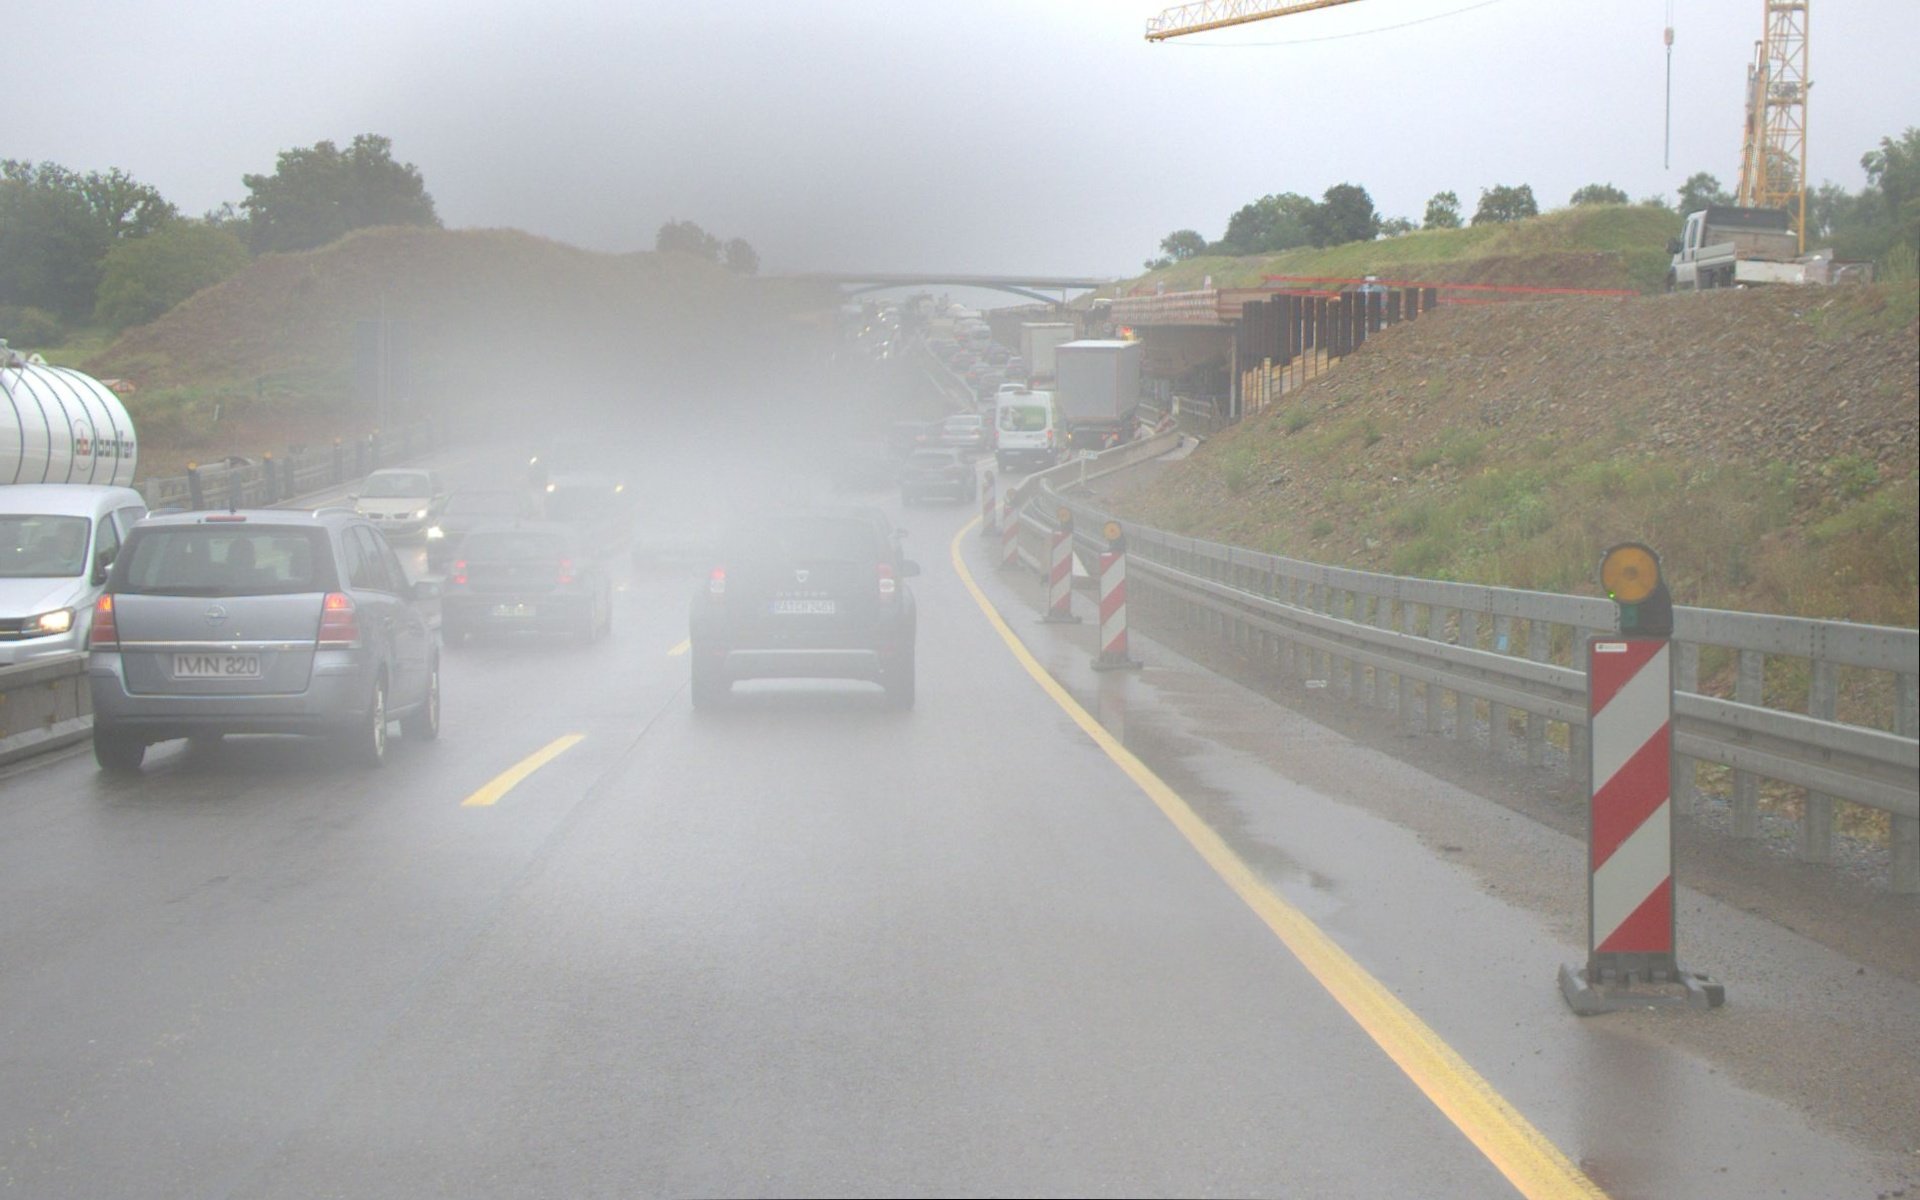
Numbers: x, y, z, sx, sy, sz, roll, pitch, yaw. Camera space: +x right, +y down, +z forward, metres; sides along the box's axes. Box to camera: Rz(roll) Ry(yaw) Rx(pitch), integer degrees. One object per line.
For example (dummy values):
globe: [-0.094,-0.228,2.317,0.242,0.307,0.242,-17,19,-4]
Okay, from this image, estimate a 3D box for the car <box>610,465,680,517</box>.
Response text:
car: [-9.369,-3.254,102.503,1.787,1.533,4.312,0,2,-1]

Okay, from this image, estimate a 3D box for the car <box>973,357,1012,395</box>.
car: [1.770,-12.227,187.996,1.993,2.006,4.001,-1,3,-1]

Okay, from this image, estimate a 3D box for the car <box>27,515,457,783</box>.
car: [-4.582,0.250,22.567,1.993,1.595,4.141,0,1,-1]

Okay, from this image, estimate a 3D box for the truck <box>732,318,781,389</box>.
truck: [-14.794,-17.893,250.026,3.083,4.902,8.565,1,3,0]

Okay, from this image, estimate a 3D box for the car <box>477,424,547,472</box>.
car: [-14.495,-4.912,111.431,1.787,1.533,4.312,0,2,-1]

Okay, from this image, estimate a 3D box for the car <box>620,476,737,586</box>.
car: [-5.257,-1.303,64.630,1.993,2.007,3.894,0,1,-2]

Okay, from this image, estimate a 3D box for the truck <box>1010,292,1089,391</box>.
truck: [5.078,-14.843,198.536,3.803,5.025,12.923,0,1,-2]

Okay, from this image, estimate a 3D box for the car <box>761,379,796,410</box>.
car: [-10.098,-11.468,191.699,1.737,1.678,5.553,1,3,-1]

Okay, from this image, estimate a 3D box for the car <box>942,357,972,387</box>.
car: [-0.227,-16.463,248.562,1.993,2.007,4.001,0,1,-2]

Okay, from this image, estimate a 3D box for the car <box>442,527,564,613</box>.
car: [-8.475,-0.587,64.062,1.772,1.499,4.680,0,2,-2]

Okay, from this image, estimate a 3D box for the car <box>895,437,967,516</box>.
car: [-0.807,-3.460,97.135,1.993,2.155,4.141,0,1,0]

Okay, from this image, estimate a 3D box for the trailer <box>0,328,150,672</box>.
trailer: [-11.604,-1.117,38.514,2.620,3.665,12.005,0,1,-2]

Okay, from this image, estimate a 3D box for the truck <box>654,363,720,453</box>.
truck: [-12.351,-8.749,156.137,2.641,3.956,9.216,0,4,-2]

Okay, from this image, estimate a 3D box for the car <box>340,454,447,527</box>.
car: [-12.355,-2.401,75.191,1.787,1.541,4.001,0,2,-2]

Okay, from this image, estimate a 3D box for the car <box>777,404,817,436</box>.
car: [-7.668,-8.491,162.240,1.868,1.466,4.672,0,3,-2]

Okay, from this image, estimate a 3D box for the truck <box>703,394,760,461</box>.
truck: [-9.446,-7.136,142.542,2.147,2.704,6.017,0,3,-2]

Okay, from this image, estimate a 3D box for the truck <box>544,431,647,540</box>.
truck: [-8.898,-2.774,84.300,2.078,2.567,5.963,0,1,-2]

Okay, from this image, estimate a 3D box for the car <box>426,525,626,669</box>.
car: [-5.011,-0.070,40.146,1.993,1.595,4.141,0,1,-3]

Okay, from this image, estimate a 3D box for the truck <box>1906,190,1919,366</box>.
truck: [17.511,-5.265,53.046,3.395,2.865,8.960,0,1,0]

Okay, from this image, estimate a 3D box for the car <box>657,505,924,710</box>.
car: [-1.342,0.020,28.832,2.081,1.595,4.141,0,1,-1]

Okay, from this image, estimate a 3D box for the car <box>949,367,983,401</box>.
car: [0.369,-13.273,211.062,1.993,2.006,4.001,-1,3,-1]

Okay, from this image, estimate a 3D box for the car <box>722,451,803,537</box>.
car: [-5.093,-2.701,88.326,1.993,2.155,4.141,0,1,-4]

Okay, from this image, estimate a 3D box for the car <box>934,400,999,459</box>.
car: [0.276,-6.552,132.417,1.994,2.155,4.139,0,1,8]

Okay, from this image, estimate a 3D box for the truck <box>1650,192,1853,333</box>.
truck: [17.281,-7.342,75.498,2.645,2.546,6.985,0,1,-2]

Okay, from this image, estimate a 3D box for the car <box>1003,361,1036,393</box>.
car: [4.037,-15.113,232.877,1.993,2.007,4.001,0,1,-2]

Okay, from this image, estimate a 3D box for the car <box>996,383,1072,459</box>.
car: [2.577,-6.171,119.017,1.994,2.475,4.980,0,1,9]

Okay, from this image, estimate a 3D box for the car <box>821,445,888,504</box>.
car: [-3.267,-3.899,107.353,1.993,1.755,3.815,0,1,0]

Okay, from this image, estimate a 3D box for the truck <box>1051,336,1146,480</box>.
truck: [5.598,-7.564,137.359,3.102,5.407,9.441,0,1,6]

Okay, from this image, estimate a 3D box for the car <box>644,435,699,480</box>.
car: [-10.034,-4.978,119.710,1.676,1.518,4.346,0,3,-2]

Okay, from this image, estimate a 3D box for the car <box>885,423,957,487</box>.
car: [-1.335,-5.036,119.819,1.994,2.155,4.140,0,1,6]

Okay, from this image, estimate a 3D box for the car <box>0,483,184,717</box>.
car: [-7.758,-0.045,28.416,1.865,1.794,4.163,0,1,-2]
